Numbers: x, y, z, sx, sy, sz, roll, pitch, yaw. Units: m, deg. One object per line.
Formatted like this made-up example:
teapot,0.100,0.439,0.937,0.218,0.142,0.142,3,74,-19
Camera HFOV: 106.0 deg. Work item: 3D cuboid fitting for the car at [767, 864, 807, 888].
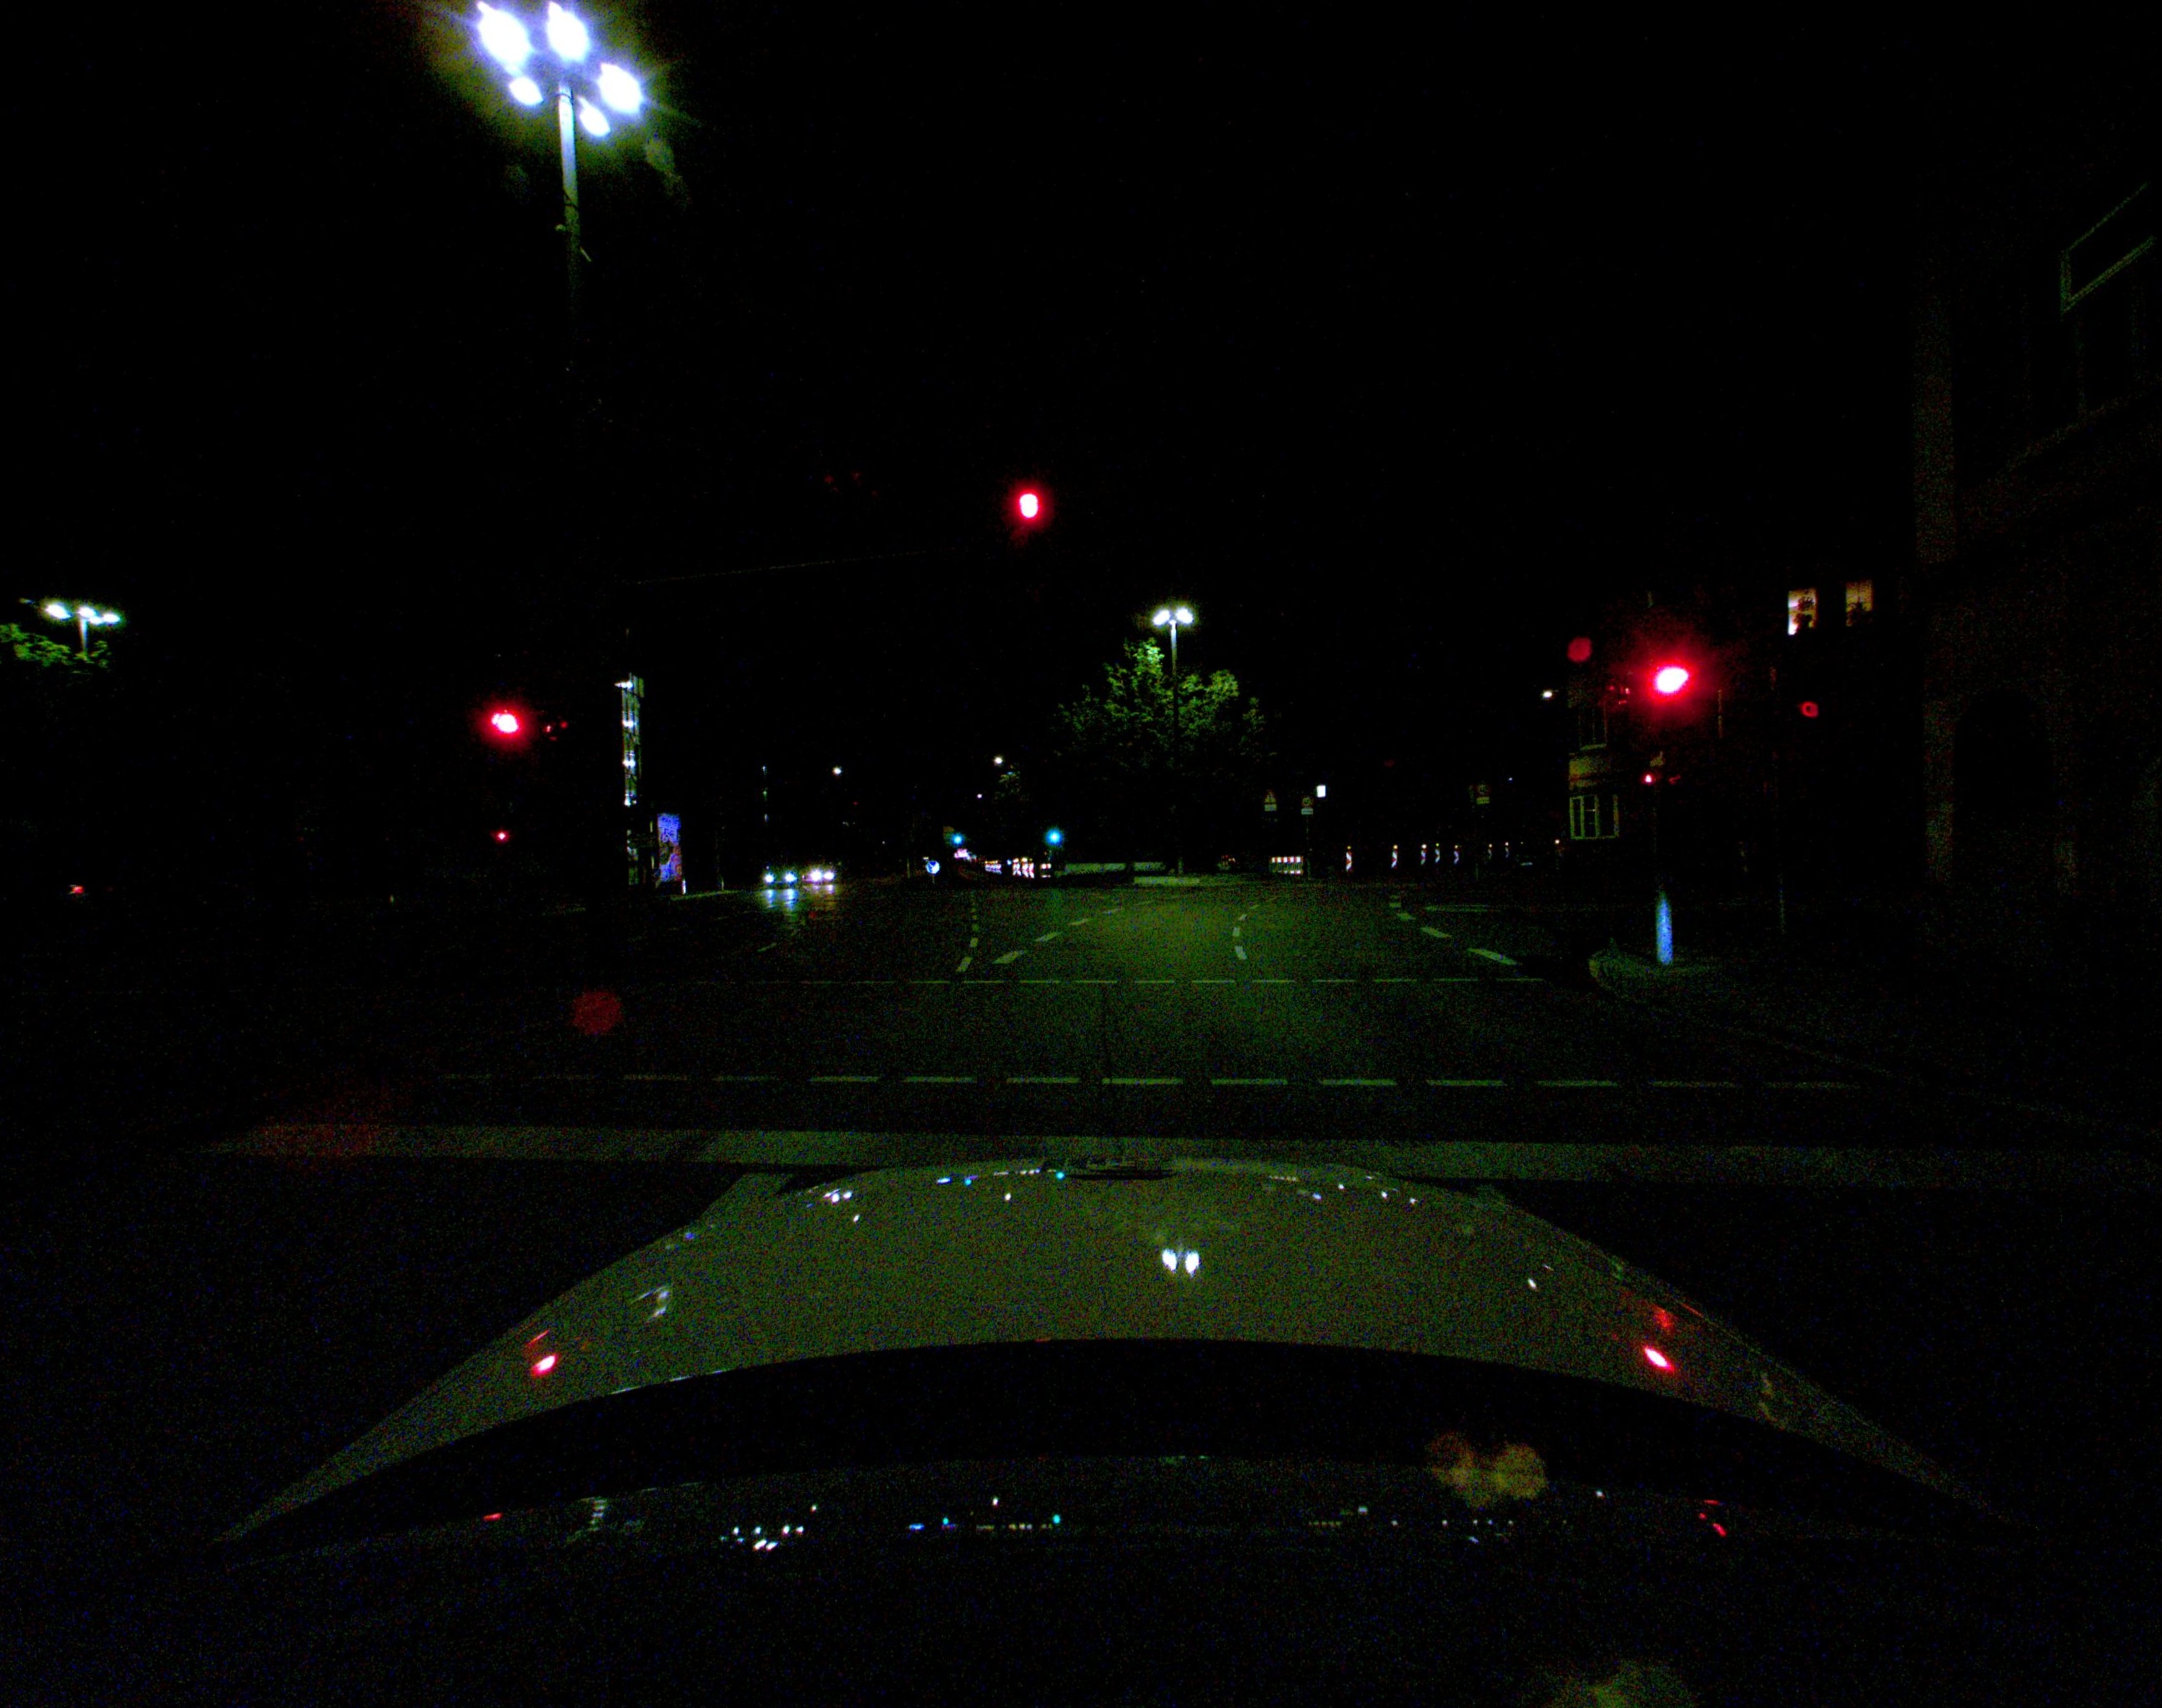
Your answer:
car,-19.840,1.441,55.063,1.614,1.515,3.990,-2,-1,-7

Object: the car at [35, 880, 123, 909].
car,-57.517,2.326,46.756,3.957,1.491,1.716,-2,-1,15

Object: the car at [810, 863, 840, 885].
car,-21.341,1.670,67.991,1.756,1.728,3.538,-2,-1,-7

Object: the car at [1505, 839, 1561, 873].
car,22.584,0.093,40.632,1.711,1.612,3.646,-2,-1,41

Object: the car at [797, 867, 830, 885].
car,-20.411,1.671,62.275,1.756,1.322,3.538,-2,-1,-7
